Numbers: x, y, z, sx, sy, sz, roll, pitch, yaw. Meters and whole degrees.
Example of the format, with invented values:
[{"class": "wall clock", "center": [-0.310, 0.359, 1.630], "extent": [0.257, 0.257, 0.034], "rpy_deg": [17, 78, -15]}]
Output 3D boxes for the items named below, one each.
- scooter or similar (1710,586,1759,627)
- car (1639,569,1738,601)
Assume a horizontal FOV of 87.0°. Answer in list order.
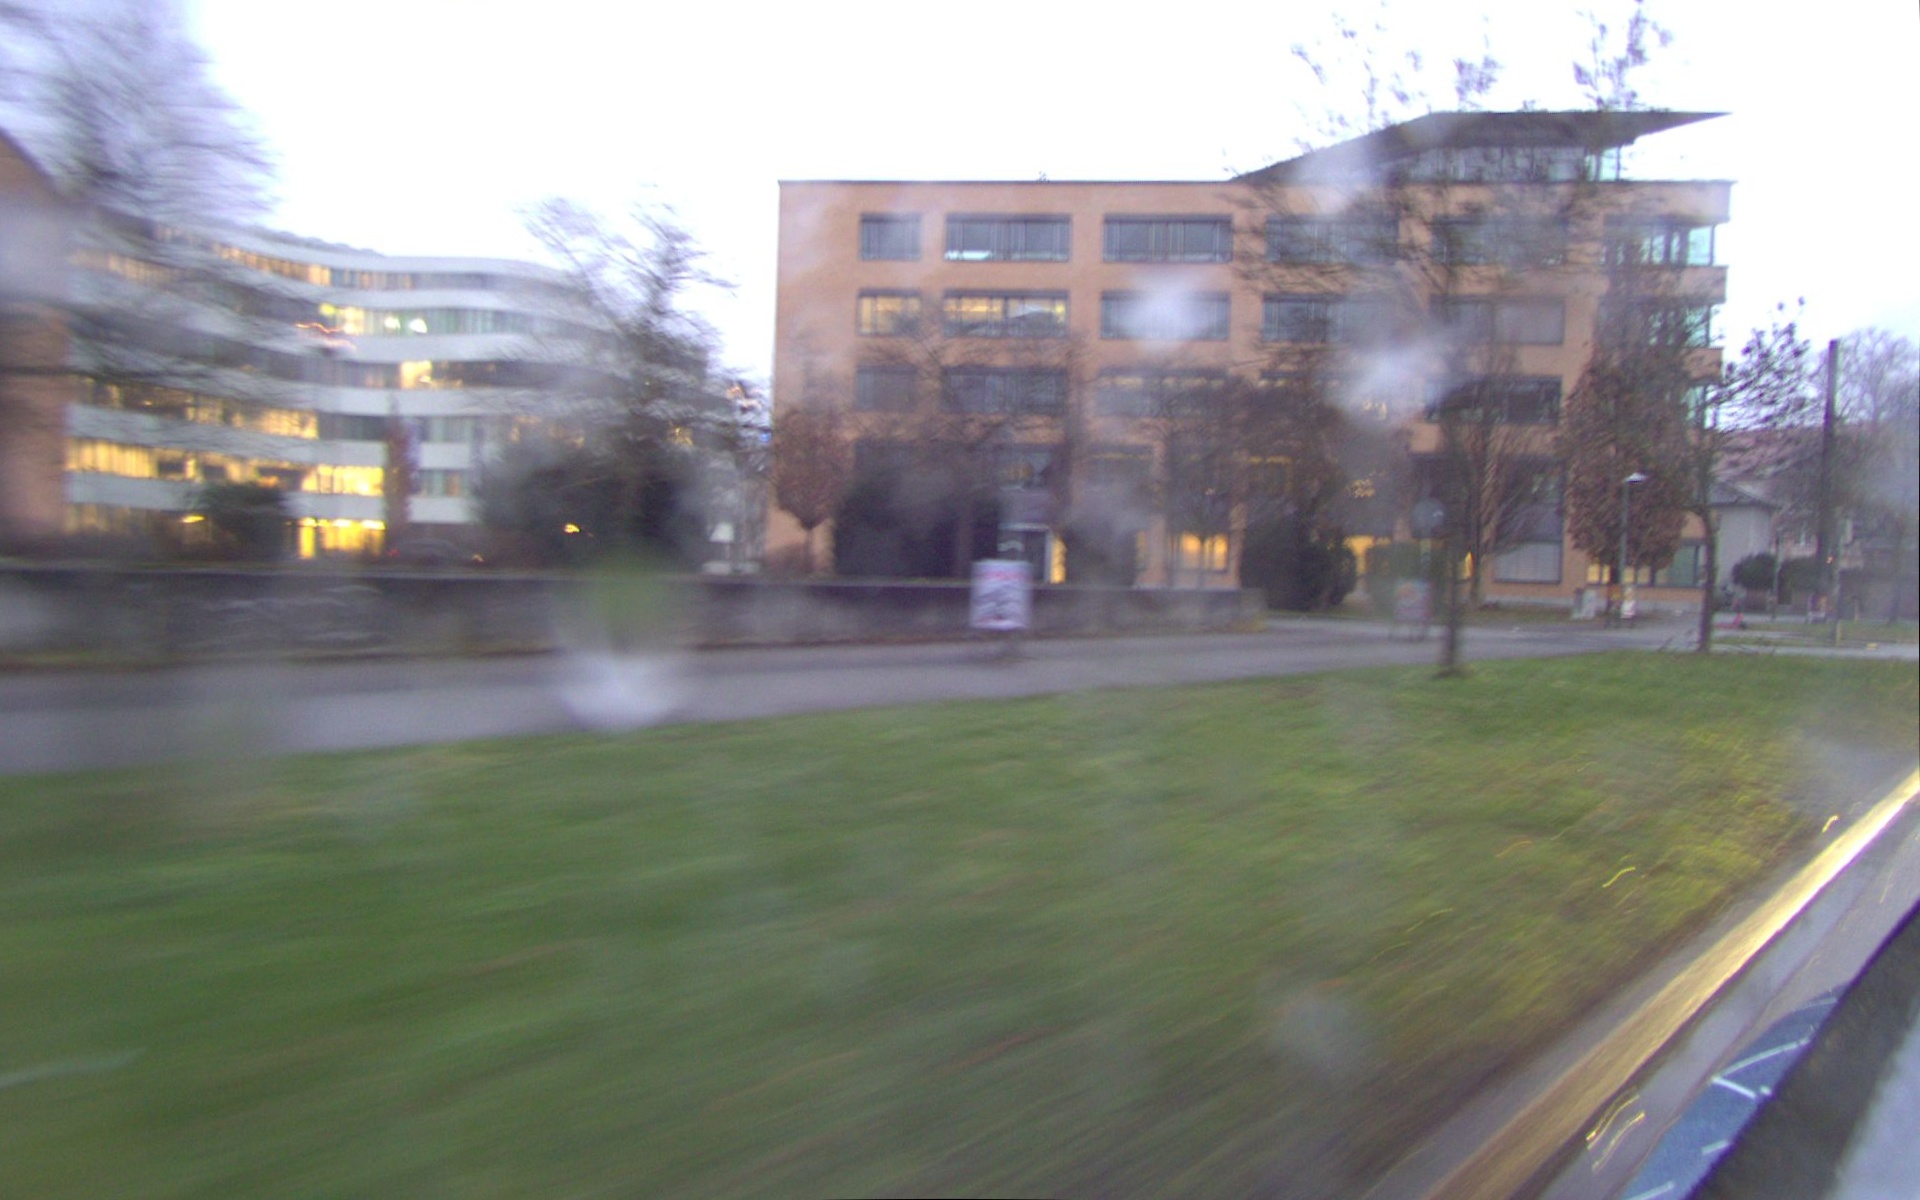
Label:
[{"class": "scooter or similar", "center": [24.601, 0.202, 32.166], "extent": [1.138, 1.247, 0.482], "rpy_deg": [3, 2, 34]}, {"class": "car", "center": [43.462, -0.931, 60.430], "extent": [1.967, 1.690, 4.504], "rpy_deg": [0, 3, -43]}]
